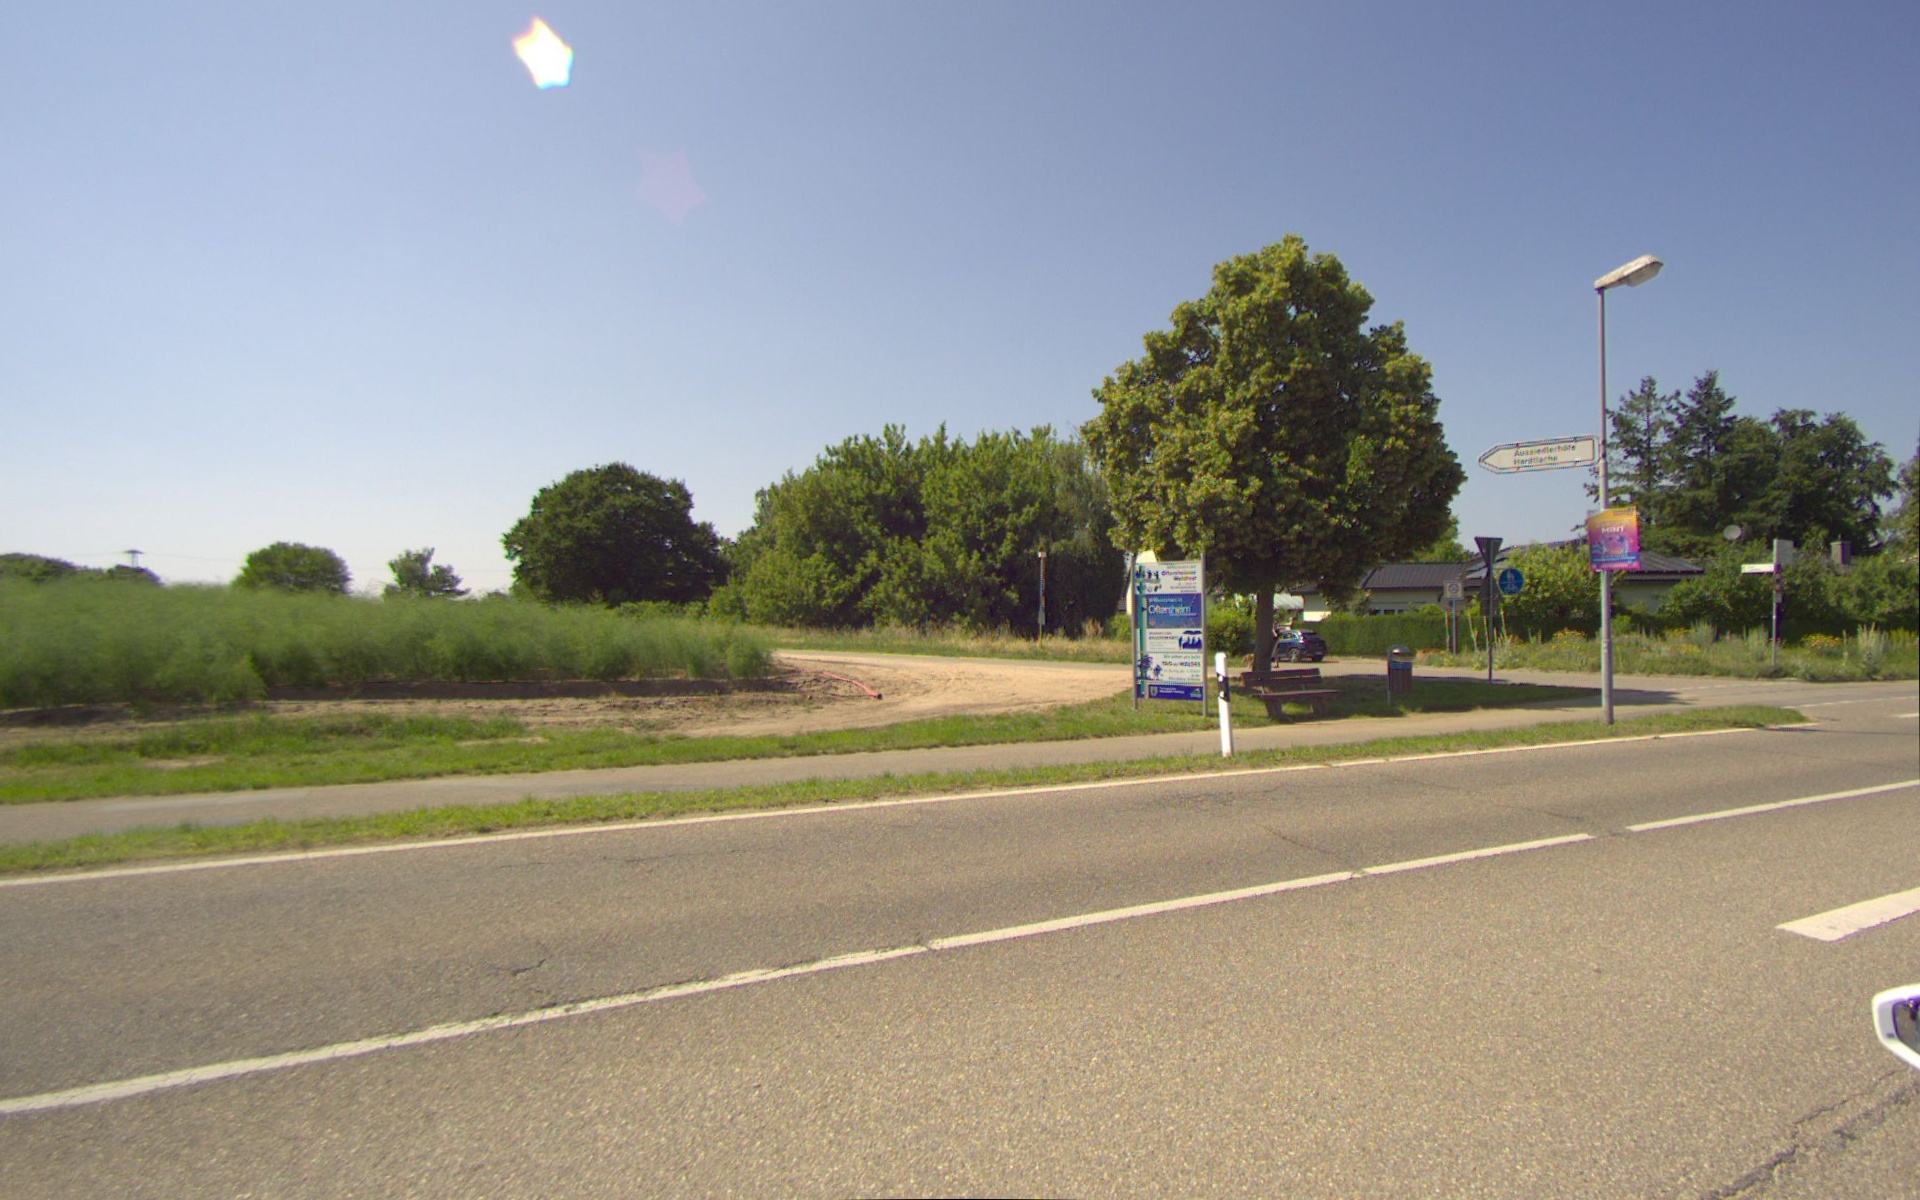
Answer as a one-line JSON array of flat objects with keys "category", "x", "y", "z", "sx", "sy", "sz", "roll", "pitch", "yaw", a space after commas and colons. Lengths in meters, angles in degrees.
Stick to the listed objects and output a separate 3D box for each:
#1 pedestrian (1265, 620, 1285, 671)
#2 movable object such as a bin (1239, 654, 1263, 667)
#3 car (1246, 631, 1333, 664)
[{"category": "pedestrian", "x": 10.986, "y": 1.571, "z": 34.990, "sx": 0.541, "sy": 1.739, "sz": 0.675, "roll": 0, "pitch": -1, "yaw": 30}, {"category": "movable object such as a bin", "x": 9.925, "y": 2.052, "z": 34.229, "sx": 0.749, "sy": 0.416, "sz": 0.320, "roll": 0, "pitch": -1, "yaw": 11}, {"category": "car", "x": 16.544, "y": 2.393, "z": 50.663, "sx": 1.858, "sy": 1.539, "sz": 3.971, "roll": -1, "pitch": -1, "yaw": -28}]
